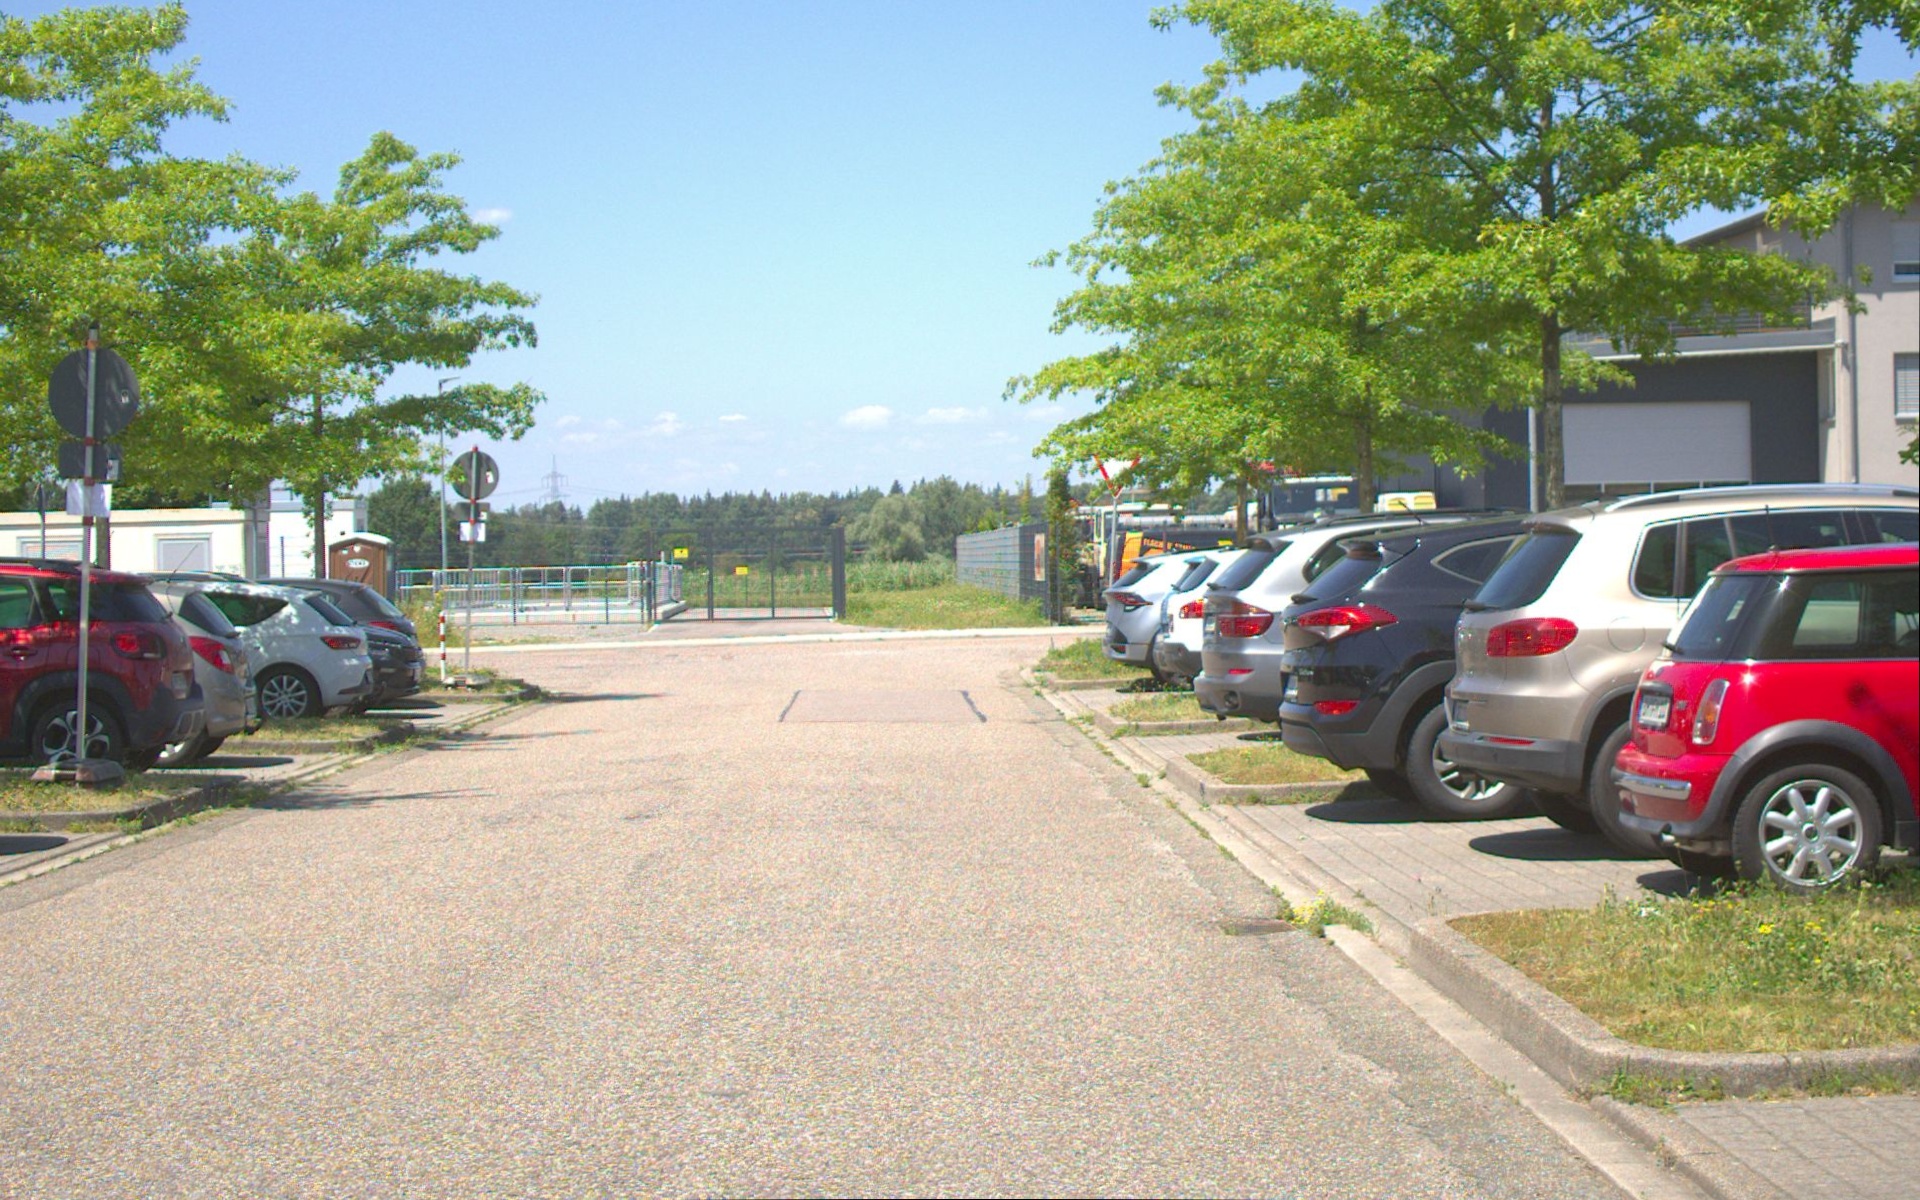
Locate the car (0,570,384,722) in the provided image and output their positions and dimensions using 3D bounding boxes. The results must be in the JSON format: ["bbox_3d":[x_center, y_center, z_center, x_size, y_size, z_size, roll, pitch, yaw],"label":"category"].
[{"bbox_3d":[-7.950,0.448,34.602,4.075,1.419,1.874,1,0,-5],"label":"car"}]

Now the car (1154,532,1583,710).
[{"bbox_3d":[4.091,0.209,34.936,4.068,1.602,1.901,-2,0,0],"label":"car"}]

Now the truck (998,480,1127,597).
[{"bbox_3d":[2.646,-1.614,90.920,2.921,2.928,6.936,-1,1,-2],"label":"truck"}]

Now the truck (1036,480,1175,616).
[{"bbox_3d":[3.405,-1.232,82.019,2.726,3.051,6.936,-1,1,-2],"label":"truck"}]

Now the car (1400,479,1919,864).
[{"bbox_3d":[4.219,0.280,16.601,3.875,1.672,1.782,-2,1,-1],"label":"car"}]

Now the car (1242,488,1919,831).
[{"bbox_3d":[3.801,0.291,19.303,4.173,1.690,1.782,-2,1,-2],"label":"car"}]

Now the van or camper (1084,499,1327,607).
[{"bbox_3d":[5.199,-1.022,73.262,4.936,2.156,2.000,-1,2,-2],"label":"van or camper"}]

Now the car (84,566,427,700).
[{"bbox_3d":[-8.009,0.366,39.327,3.625,1.431,1.726,1,0,-4],"label":"car"}]

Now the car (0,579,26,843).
[{"bbox_3d":[-7.445,0.580,18.801,4.193,1.475,1.713,1,0,-1],"label":"car"}]

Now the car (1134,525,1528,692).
[{"bbox_3d":[3.988,0.079,37.422,3.986,1.638,1.838,-2,0,-2],"label":"car"}]

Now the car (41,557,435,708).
[{"bbox_3d":[-7.722,0.336,37.049,3.927,1.515,1.785,1,0,-4],"label":"car"}]

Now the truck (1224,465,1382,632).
[{"bbox_3d":[8.445,-1.276,85.430,2.921,3.916,6.936,-1,1,-2],"label":"truck"}]

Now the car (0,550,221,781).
[{"bbox_3d":[-7.469,0.433,25.107,3.737,1.616,1.816,1,1,0],"label":"car"}]

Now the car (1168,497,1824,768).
[{"bbox_3d":[3.911,0.214,25.616,4.448,1.762,1.993,-2,1,-3],"label":"car"}]

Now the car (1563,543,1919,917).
[{"bbox_3d":[4.445,0.455,14.382,3.457,1.412,1.755,-2,1,-1],"label":"car"}]

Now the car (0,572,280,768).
[{"bbox_3d":[-7.438,0.537,27.724,3.656,1.503,1.731,1,1,-5],"label":"car"}]

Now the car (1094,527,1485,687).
[{"bbox_3d":[3.776,0.074,39.927,4.279,1.638,1.851,-2,0,-1],"label":"car"}]
